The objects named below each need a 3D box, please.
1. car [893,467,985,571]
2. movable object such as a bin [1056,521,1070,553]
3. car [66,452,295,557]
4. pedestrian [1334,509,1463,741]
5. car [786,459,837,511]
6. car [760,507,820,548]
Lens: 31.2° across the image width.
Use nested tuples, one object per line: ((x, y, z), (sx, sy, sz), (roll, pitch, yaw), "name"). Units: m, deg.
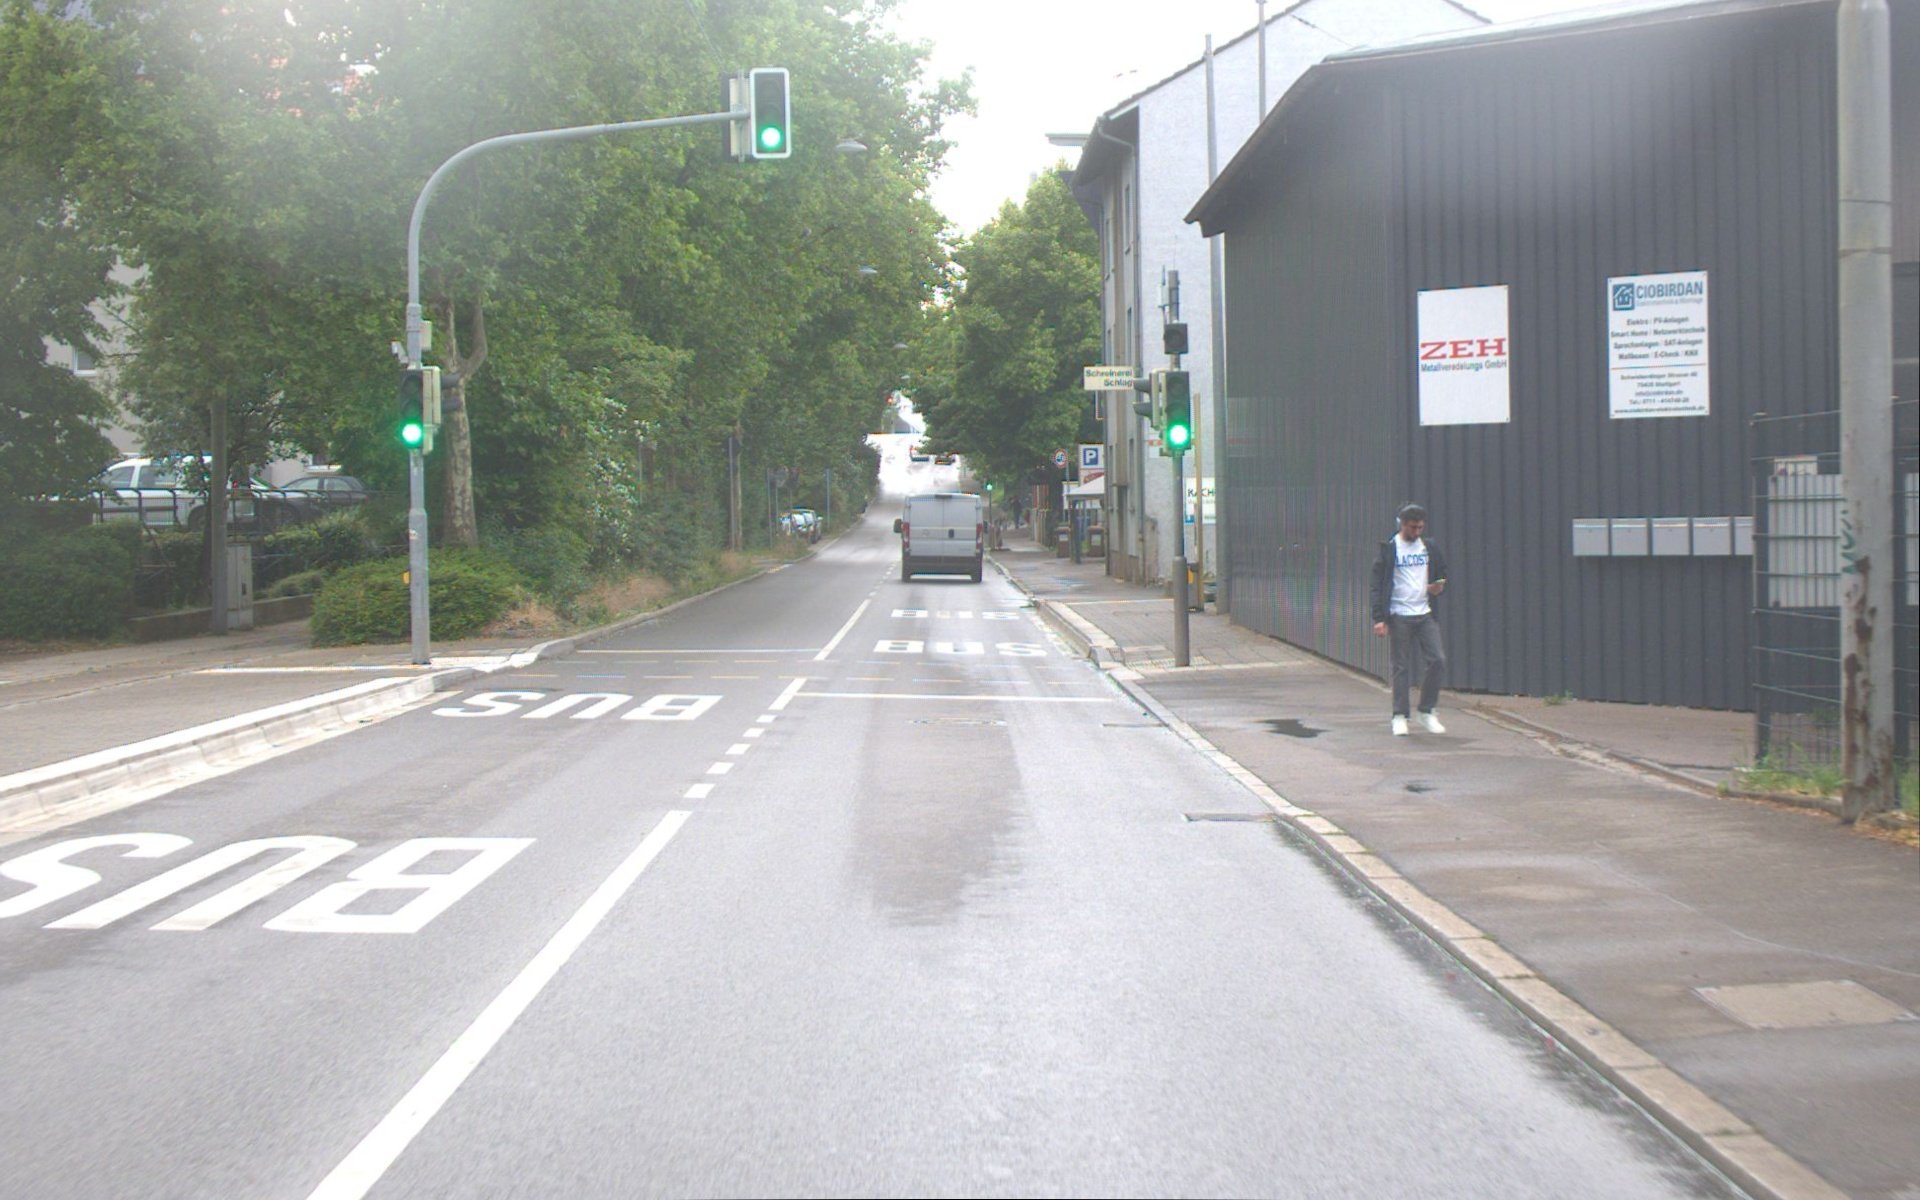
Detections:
((-0.525, -2.026, 87.654), (2.282, 2.544, 4.000), (0, 0, 0), "car")
((3.566, -2.183, 118.931), (0.399, 1.063, 0.358), (-4, 0, -6), "movable object such as a bin")
((-15.371, -1.888, 67.966), (4.167, 2.007, 1.719), (0, 1, -3), "car")
((3.280, 0.186, 25.784), (0.742, 1.698, 0.902), (1, 0, -6), "pedestrian")
((-7.501, -5.789, 173.721), (2.215, 2.525, 4.609), (1, 1, 1), "car")
((-7.308, -3.111, 148.208), (2.215, 1.587, 4.609), (1, 0, 2), "car")
